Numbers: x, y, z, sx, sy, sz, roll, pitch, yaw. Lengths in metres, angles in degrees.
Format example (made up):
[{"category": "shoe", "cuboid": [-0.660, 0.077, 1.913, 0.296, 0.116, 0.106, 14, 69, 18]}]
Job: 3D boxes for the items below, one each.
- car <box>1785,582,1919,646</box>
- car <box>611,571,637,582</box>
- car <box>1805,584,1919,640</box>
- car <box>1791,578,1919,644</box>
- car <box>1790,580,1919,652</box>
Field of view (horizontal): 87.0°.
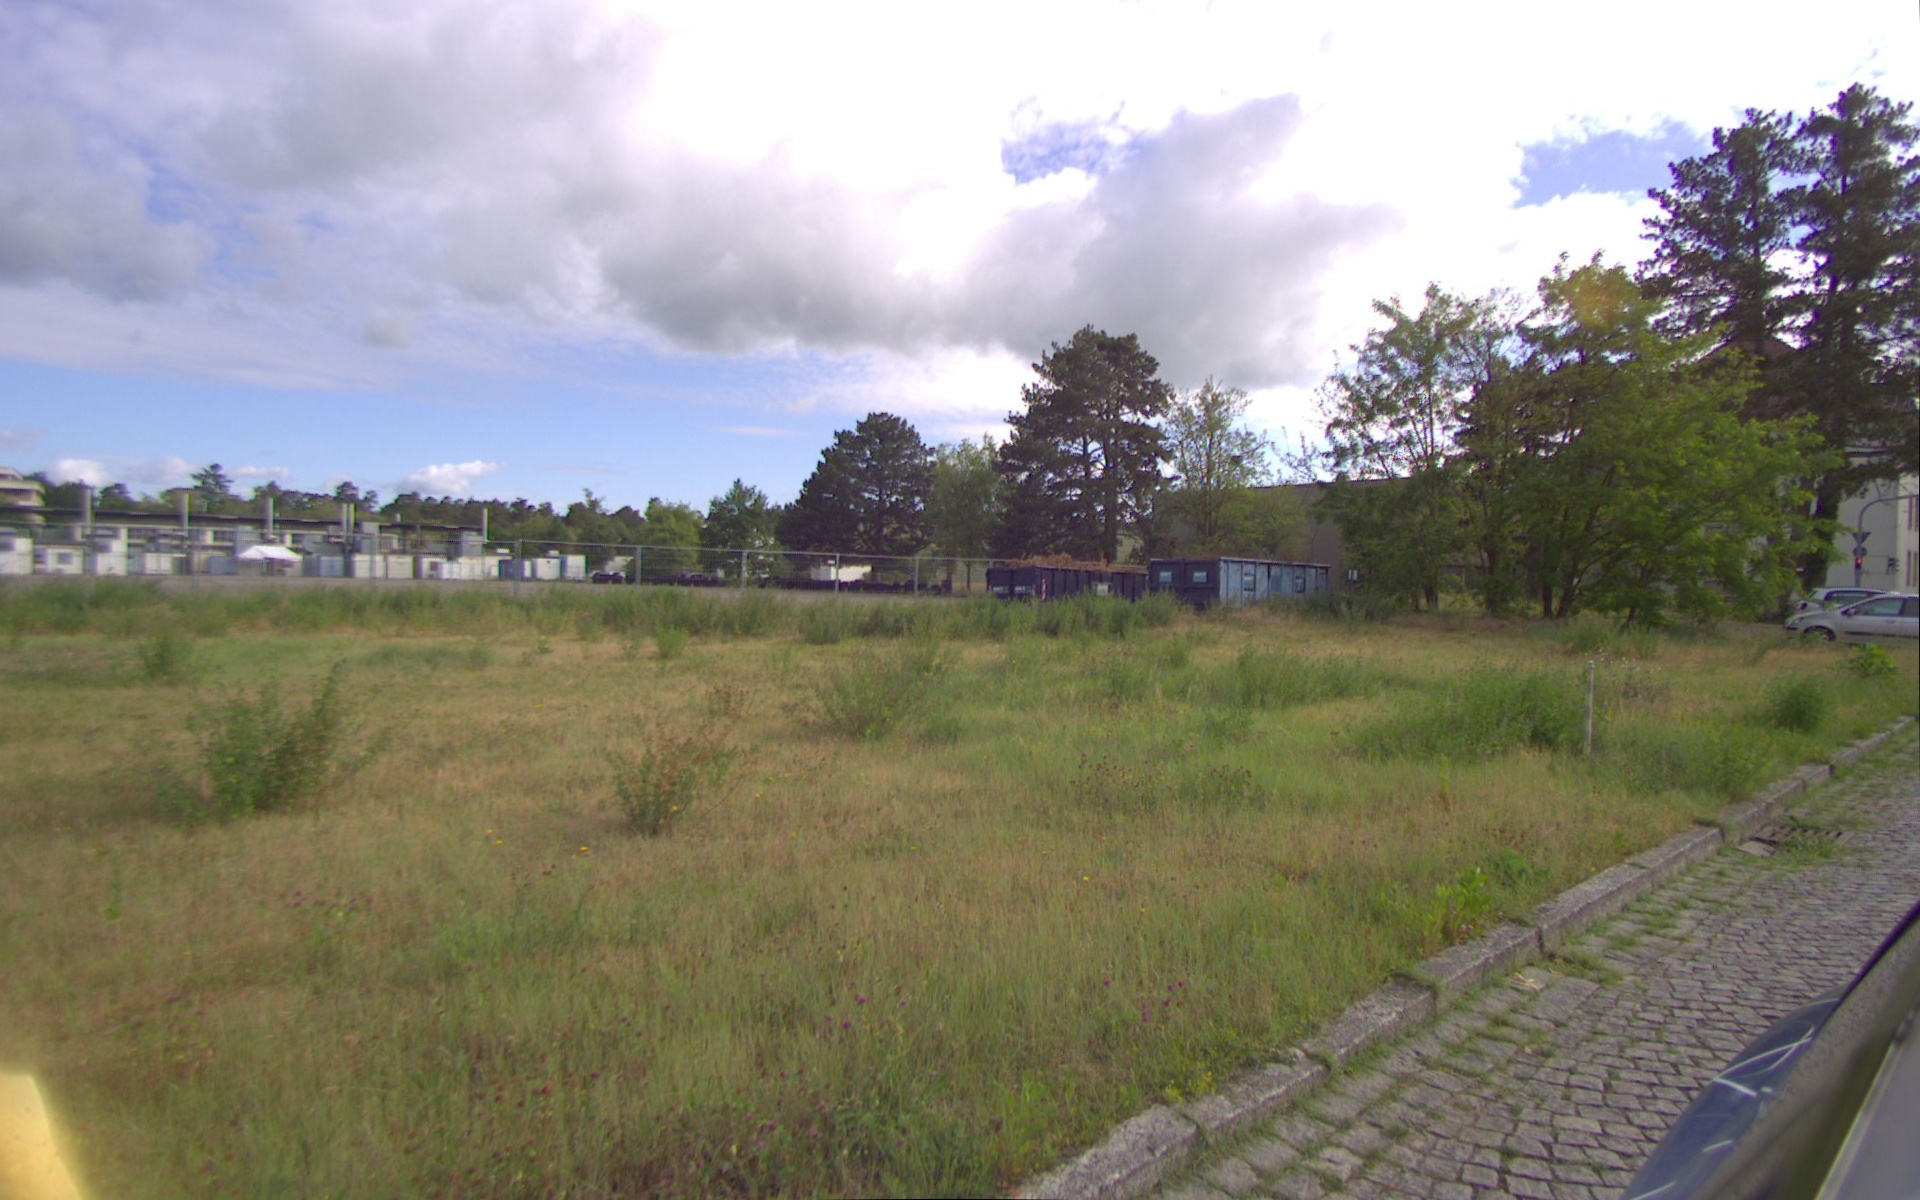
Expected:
[{"category": "car", "cuboid": [24.074, 0.407, 25.857, 1.765, 1.423, 4.376, 1, 4, -41]}, {"category": "car", "cuboid": [-58.149, -4.037, 175.244, 4.007, 1.862, 1.785, 0, 1, -38]}, {"category": "car", "cuboid": [27.757, 0.394, 29.516, 1.796, 1.442, 4.557, -1, 5, -43]}, {"category": "car", "cuboid": [25.837, 0.327, 27.867, 1.798, 1.593, 4.334, -1, 5, -45]}, {"category": "car", "cuboid": [22.239, 0.418, 23.913, 1.713, 1.497, 3.779, 1, 4, -43]}]
